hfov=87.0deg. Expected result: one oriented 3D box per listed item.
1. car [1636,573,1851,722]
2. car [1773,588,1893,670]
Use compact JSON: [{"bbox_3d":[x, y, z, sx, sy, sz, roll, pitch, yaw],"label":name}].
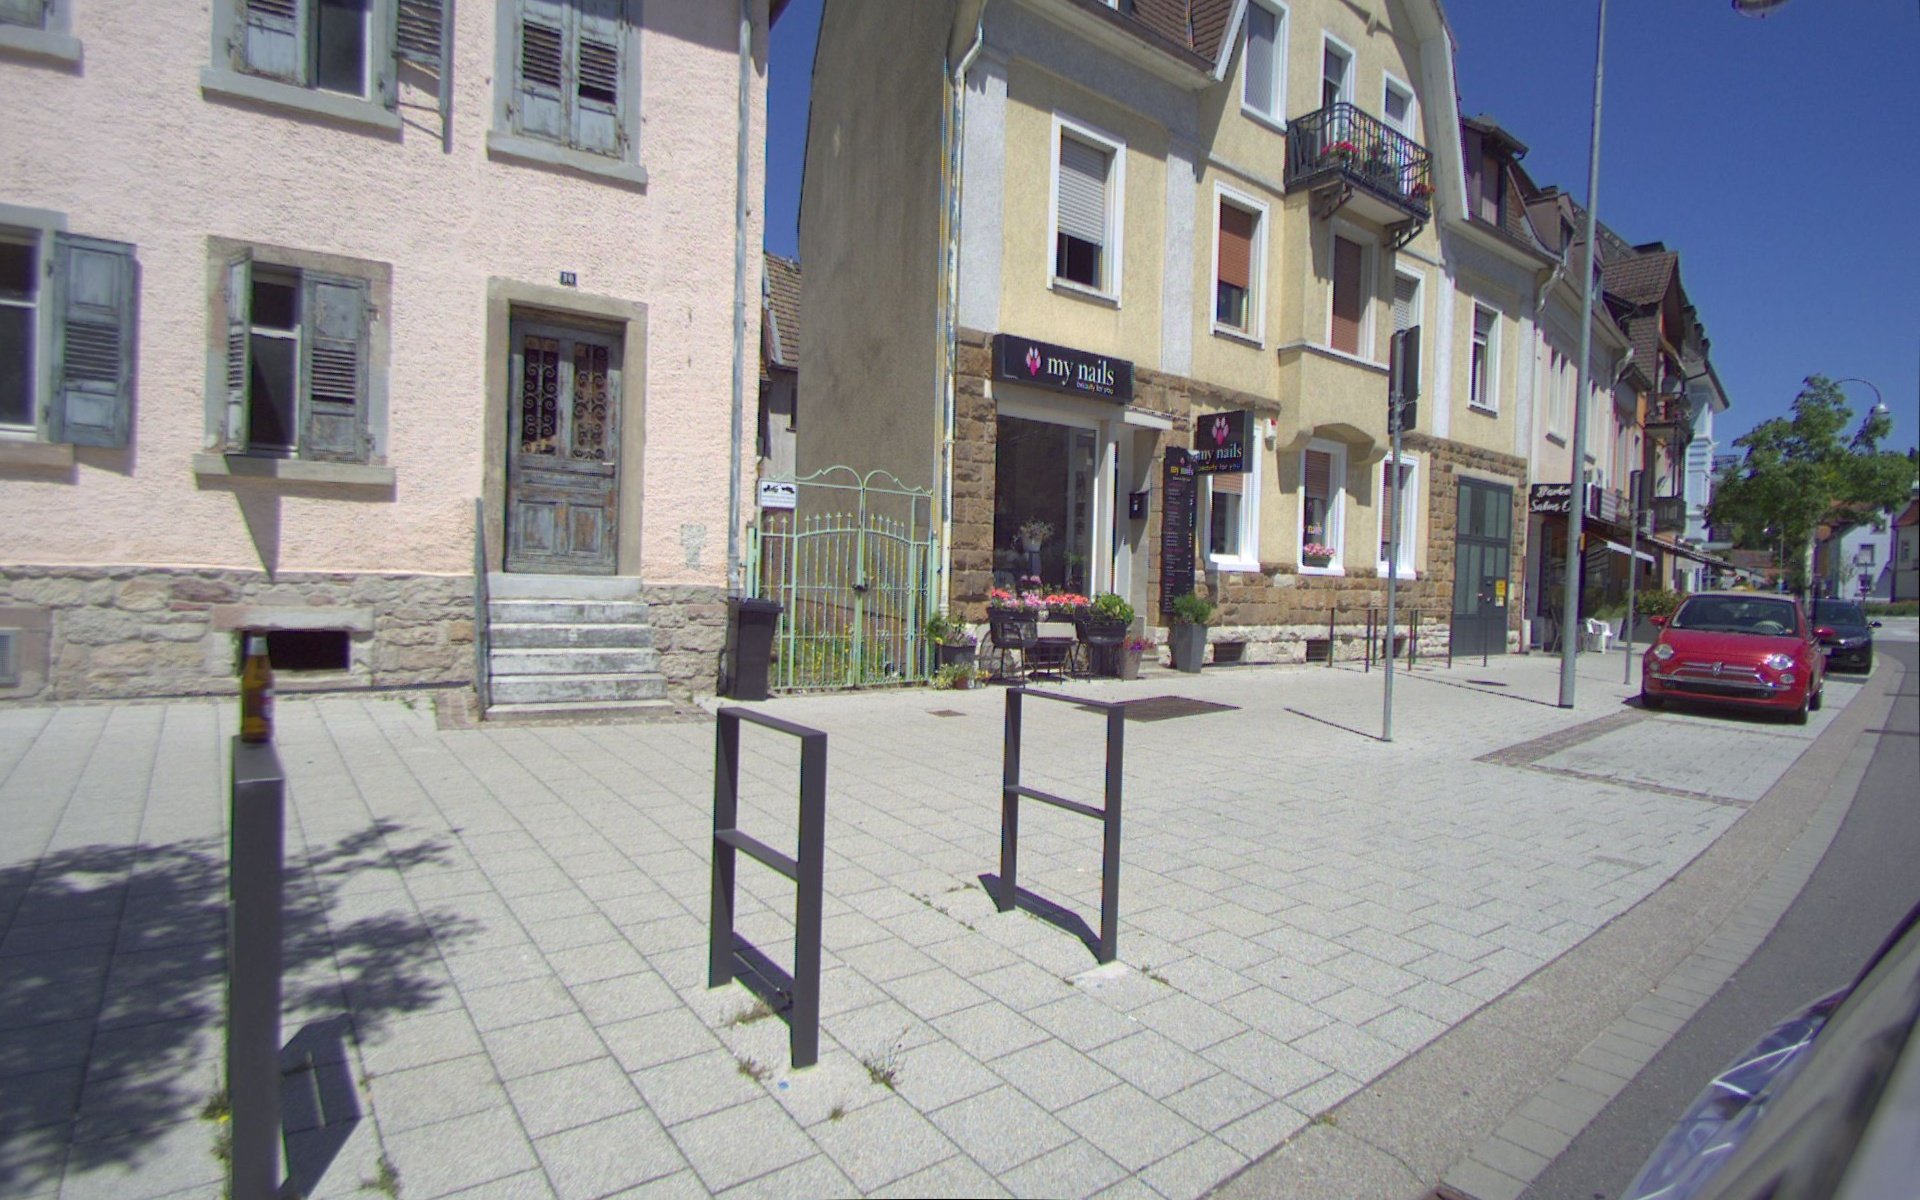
[{"bbox_3d":[9.924,0.499,12.743,1.680,1.532,3.332,6,4,44],"label":"car"},{"bbox_3d":[18.950,0.541,21.942,1.730,1.490,4.258,6,4,42],"label":"car"}]
